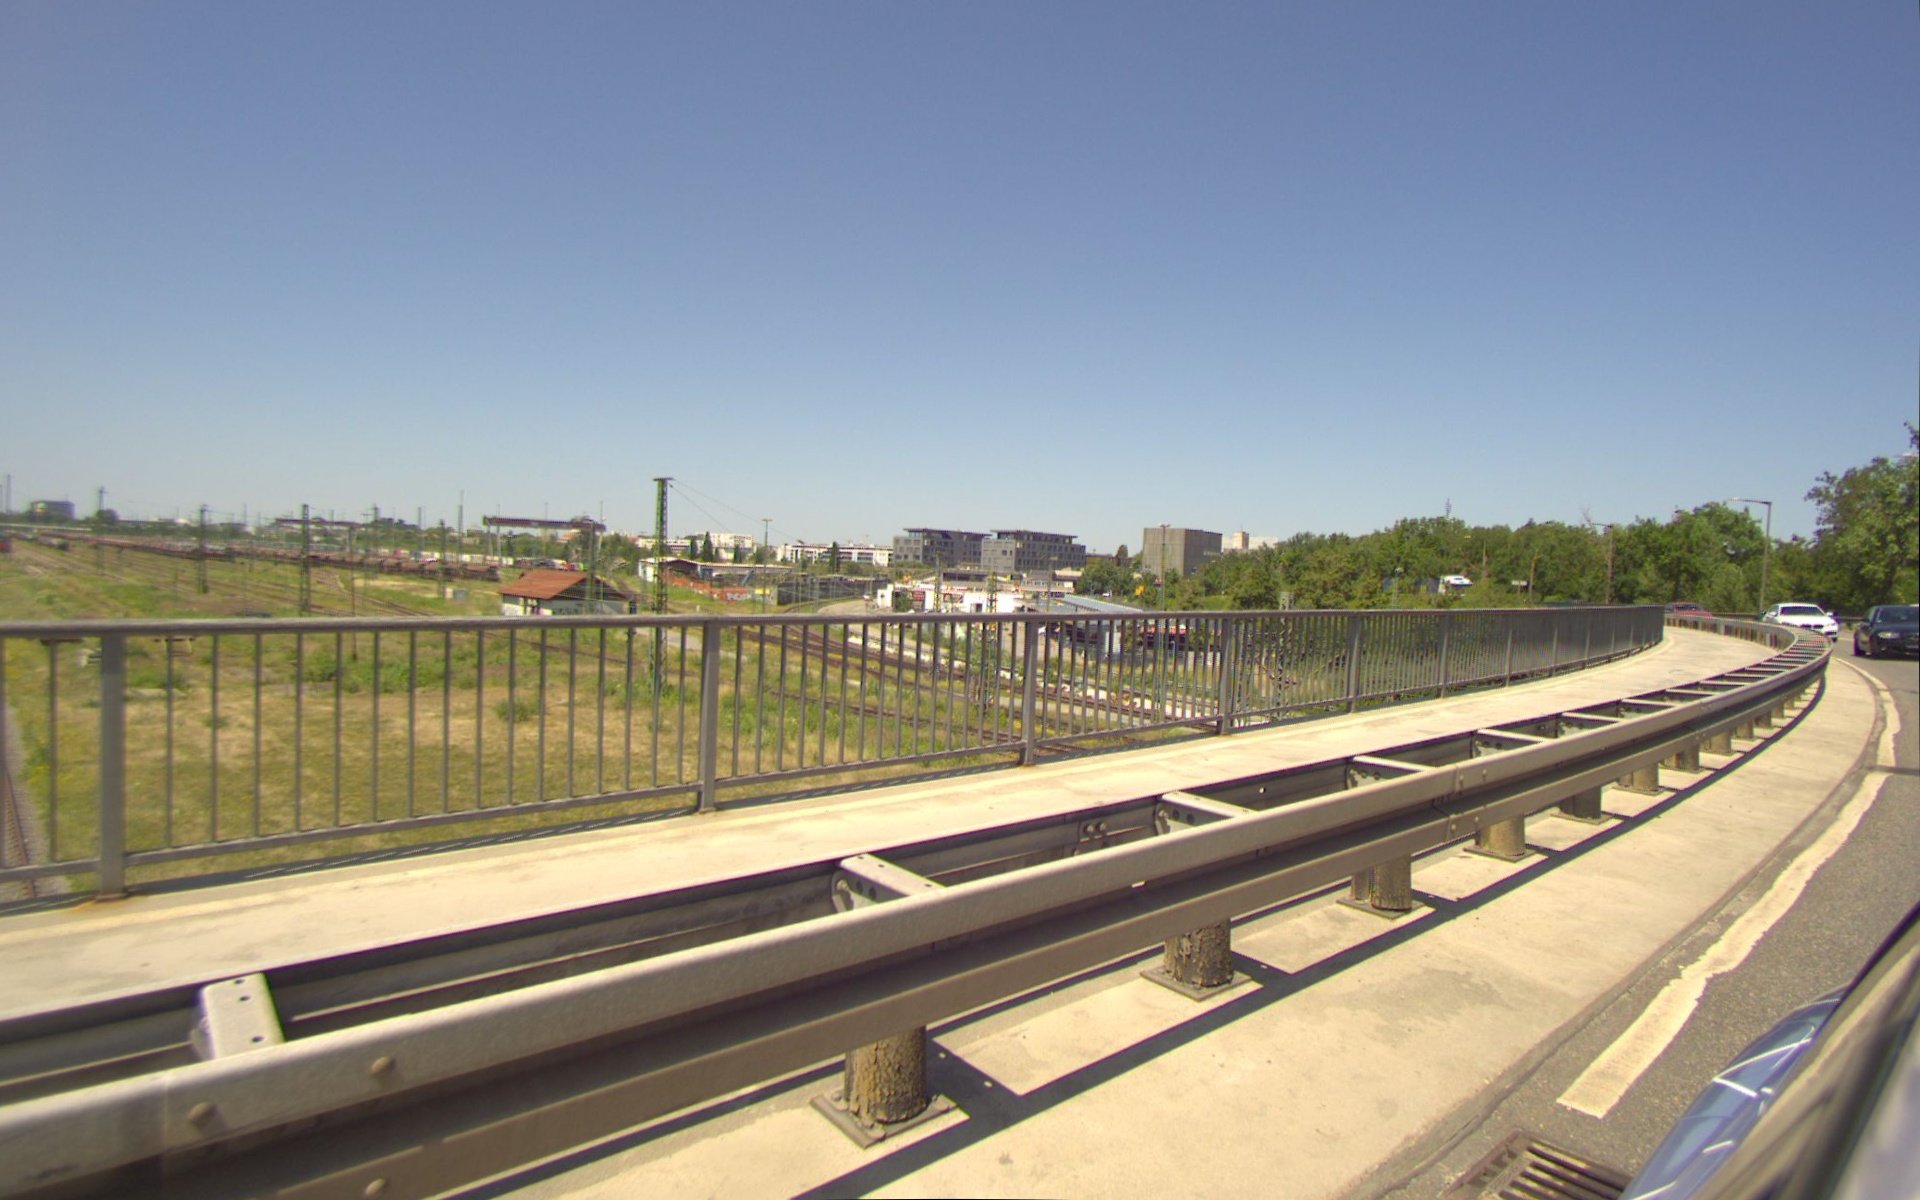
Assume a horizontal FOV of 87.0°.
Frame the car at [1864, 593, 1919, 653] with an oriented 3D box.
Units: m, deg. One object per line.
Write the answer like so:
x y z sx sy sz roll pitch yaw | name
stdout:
25.167 0.566 26.496 1.785 1.473 4.464 0 0 36 | car

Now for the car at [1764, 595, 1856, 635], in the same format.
32.912 0.547 39.328 1.778 1.473 4.480 0 0 27 | car

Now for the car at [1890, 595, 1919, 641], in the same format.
35.251 0.655 36.387 1.684 1.627 3.960 2 1 28 | car

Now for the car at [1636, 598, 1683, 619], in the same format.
51.004 0.621 73.880 1.515 1.447 3.981 1 0 15 | car

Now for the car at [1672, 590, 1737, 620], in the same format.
40.852 0.221 55.629 1.775 1.473 4.490 1 2 22 | car

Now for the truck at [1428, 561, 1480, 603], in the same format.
52.804 -1.866 108.423 2.649 4.282 6.830 -1 0 5 | truck
